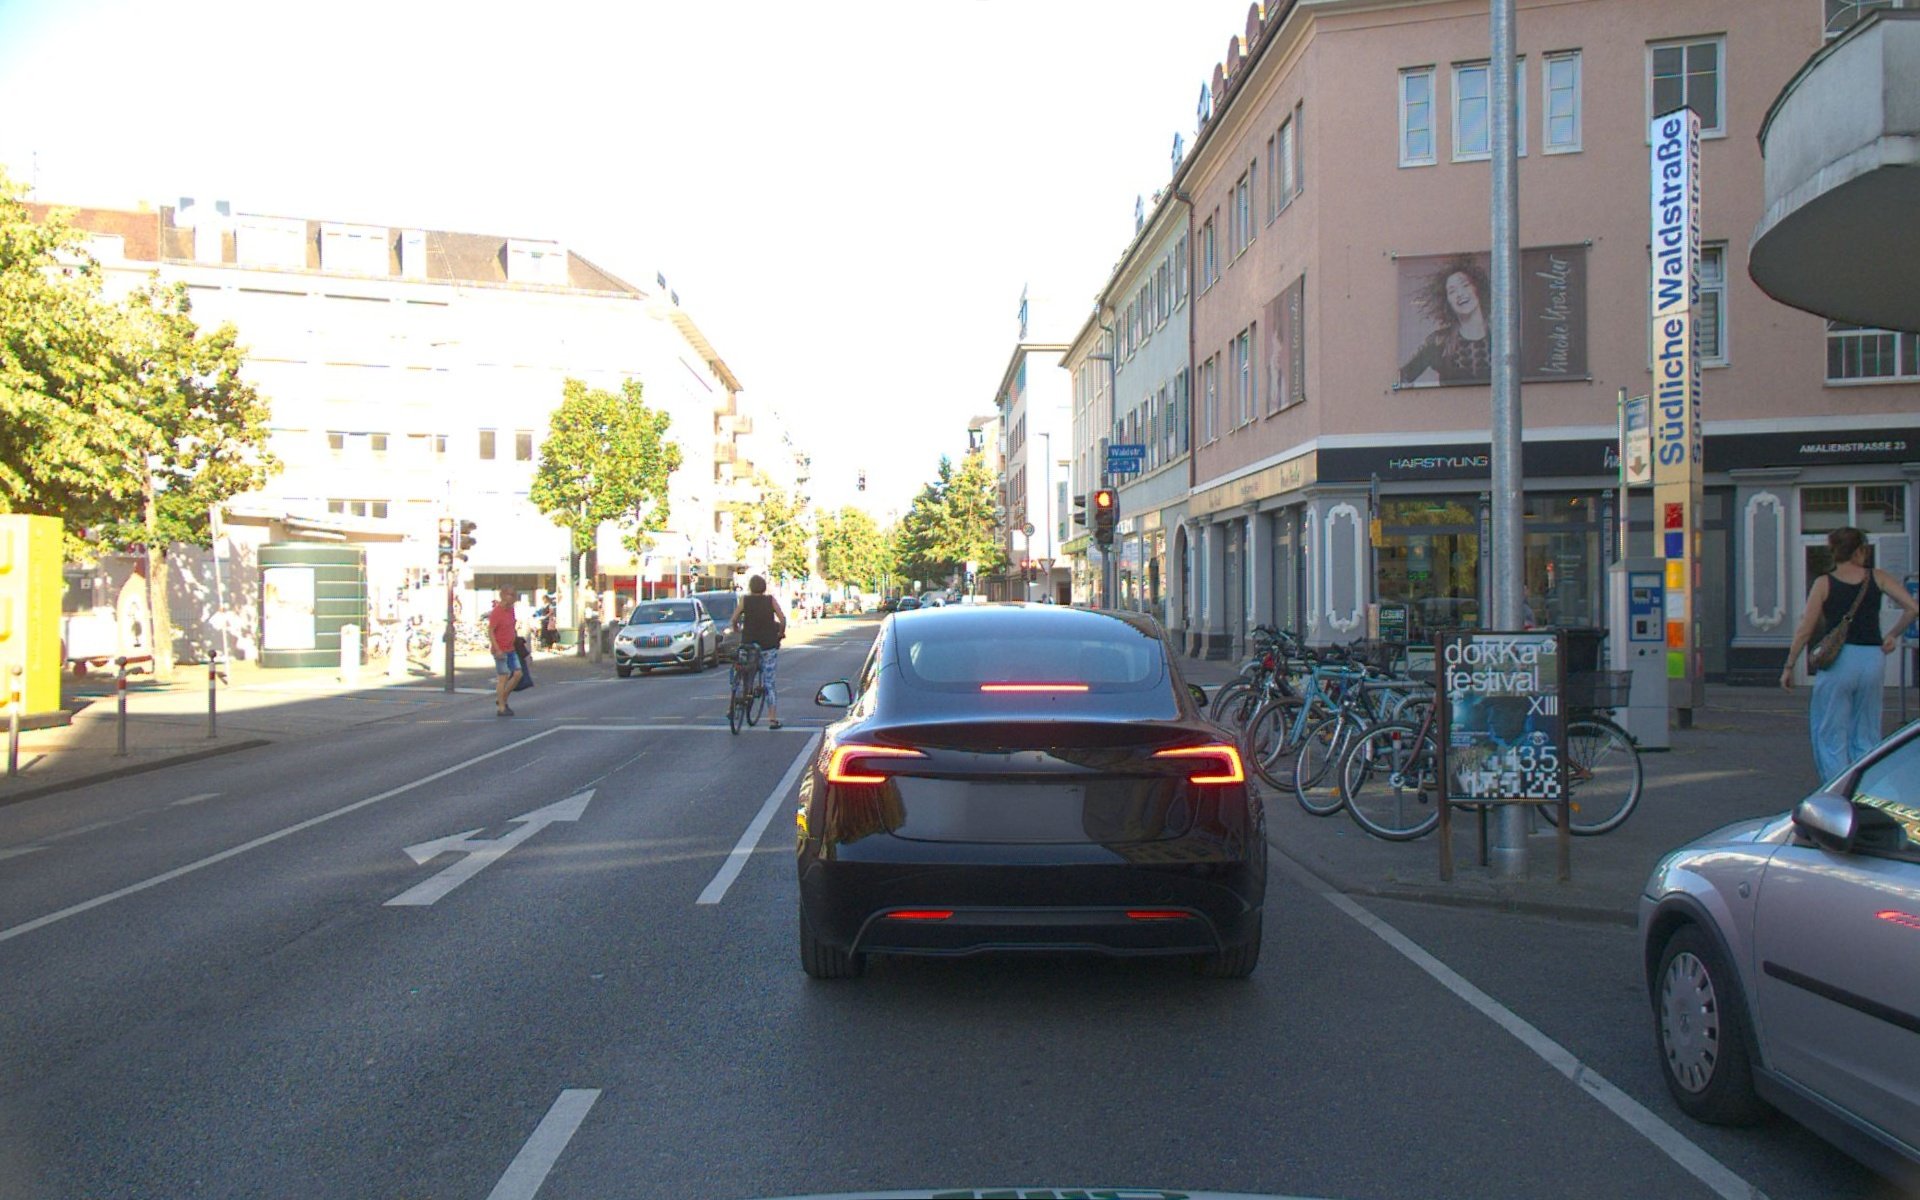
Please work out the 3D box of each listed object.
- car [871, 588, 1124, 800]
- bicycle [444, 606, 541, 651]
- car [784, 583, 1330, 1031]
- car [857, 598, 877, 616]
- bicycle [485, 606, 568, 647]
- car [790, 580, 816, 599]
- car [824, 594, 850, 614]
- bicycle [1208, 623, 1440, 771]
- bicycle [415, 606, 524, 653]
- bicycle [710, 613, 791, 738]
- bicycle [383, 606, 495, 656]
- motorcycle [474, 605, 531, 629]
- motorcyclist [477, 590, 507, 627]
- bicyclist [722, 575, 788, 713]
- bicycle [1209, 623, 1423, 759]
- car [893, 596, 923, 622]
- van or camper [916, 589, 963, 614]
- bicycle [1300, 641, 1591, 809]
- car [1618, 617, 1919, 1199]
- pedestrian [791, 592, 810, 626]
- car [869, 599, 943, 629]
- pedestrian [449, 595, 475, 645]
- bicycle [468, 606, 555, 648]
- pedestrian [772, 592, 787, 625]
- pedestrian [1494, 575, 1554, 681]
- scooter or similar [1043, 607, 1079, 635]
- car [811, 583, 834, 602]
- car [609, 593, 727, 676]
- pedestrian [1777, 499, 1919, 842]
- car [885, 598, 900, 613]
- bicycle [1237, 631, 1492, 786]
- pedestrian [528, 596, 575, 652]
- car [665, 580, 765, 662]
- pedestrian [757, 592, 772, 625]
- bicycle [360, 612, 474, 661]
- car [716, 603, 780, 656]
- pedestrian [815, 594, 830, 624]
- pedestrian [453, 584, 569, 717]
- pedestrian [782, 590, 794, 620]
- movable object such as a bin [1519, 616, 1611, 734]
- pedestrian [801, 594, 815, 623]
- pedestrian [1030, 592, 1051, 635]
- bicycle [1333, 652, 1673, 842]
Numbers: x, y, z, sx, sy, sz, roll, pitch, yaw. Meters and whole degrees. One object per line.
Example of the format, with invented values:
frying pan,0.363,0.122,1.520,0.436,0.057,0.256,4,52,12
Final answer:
car,0.241,0.690,14.193,1.812,1.507,4.450,1,0,-1
bicycle,-14.012,0.849,49.640,2.609,1.281,0.942,1,0,-4
car,0.297,0.705,7.768,1.812,1.472,4.450,1,0,-1
car,-10.506,0.823,186.963,2.089,2.004,4.133,0,0,-1
bicycle,-14.230,0.860,54.336,2.491,1.273,0.942,1,0,-4
car,-17.022,-1.135,179.403,2.228,2.049,4.717,1,0,0
car,-12.349,0.390,166.259,2.365,2.004,4.677,0,0,-1
bicycle,2.976,0.788,13.636,1.776,1.172,0.653,0,0,0
bicycle,-14.003,0.834,47.321,2.818,1.292,0.942,1,0,-4
bicycle,-2.303,0.803,18.383,0.615,1.244,2.001,1,1,0
bicycle,-14.126,0.847,44.920,2.725,1.296,0.932,1,0,-4
motorcycle,-20.604,0.762,74.550,2.355,1.054,0.775,1,-1,-33
motorcyclist,-21.042,0.386,74.317,1.099,1.662,0.768,1,-1,-32
bicyclist,-2.296,0.484,18.626,0.594,1.510,0.958,1,0,0
bicycle,3.160,0.796,14.774,1.776,1.172,0.653,0,0,0
car,-3.759,0.617,120.045,1.993,1.819,4.007,0,0,1
van or camper,-2.072,0.166,167.517,4.752,2.481,1.850,0,0,-1
bicycle,3.248,0.826,11.160,1.776,1.078,0.653,0,0,0
car,2.919,0.786,3.534,1.551,1.451,3.579,1,0,-1
pedestrian,-9.106,0.512,94.388,0.719,1.900,0.790,1,-1,28
car,-2.611,0.682,80.958,1.664,1.414,3.903,1,0,34
pedestrian,-18.105,0.731,60.110,0.830,1.790,0.704,1,-1,-15
bicycle,-14.064,0.853,51.914,2.491,1.273,0.942,1,0,-4
pedestrian,-10.568,0.497,96.837,0.721,1.900,0.787,1,-1,-17
pedestrian,8.652,0.421,25.360,0.708,1.576,0.790,1,-1,30
scooter or similar,4.282,0.886,70.363,1.317,1.154,0.803,1,-1,-25
car,-15.606,-0.823,188.059,2.228,2.049,4.717,1,0,0
car,-6.325,0.714,36.234,1.788,1.592,4.299,-4,0,-1
pedestrian,5.260,0.394,9.614,0.666,1.882,0.894,-3,-1,16
car,-8.449,0.648,208.349,1.854,1.845,3.923,1,0,-2
bicycle,3.047,0.809,12.564,1.776,1.121,0.653,0,0,0
pedestrian,-12.122,0.700,49.111,1.070,1.639,1.266,1,0,-1
car,-6.233,0.509,42.562,1.906,1.981,4.819,0,0,-1
pedestrian,-11.445,0.481,96.753,0.721,1.900,0.787,1,-1,-17
bicycle,-13.952,0.929,42.582,2.607,1.216,0.942,1,0,-4
car,-6.338,0.857,49.688,1.431,1.455,3.605,-3,0,-1
pedestrian,-8.859,0.566,106.502,0.761,1.900,1.005,1,-1,-15
pedestrian,-6.083,0.669,22.462,1.086,1.750,1.062,1,-1,19
pedestrian,-10.770,0.312,103.711,0.681,1.900,0.658,1,-1,-6
movable object such as a bin,6.040,0.736,16.539,0.623,1.122,0.728,-2,0,3
pedestrian,-10.131,0.559,110.159,0.684,1.900,0.905,1,-1,-17
pedestrian,3.407,0.554,69.886,0.649,1.790,0.649,1,-1,-24
bicycle,3.277,0.879,10.088,1.844,1.062,0.653,-1,0,0
